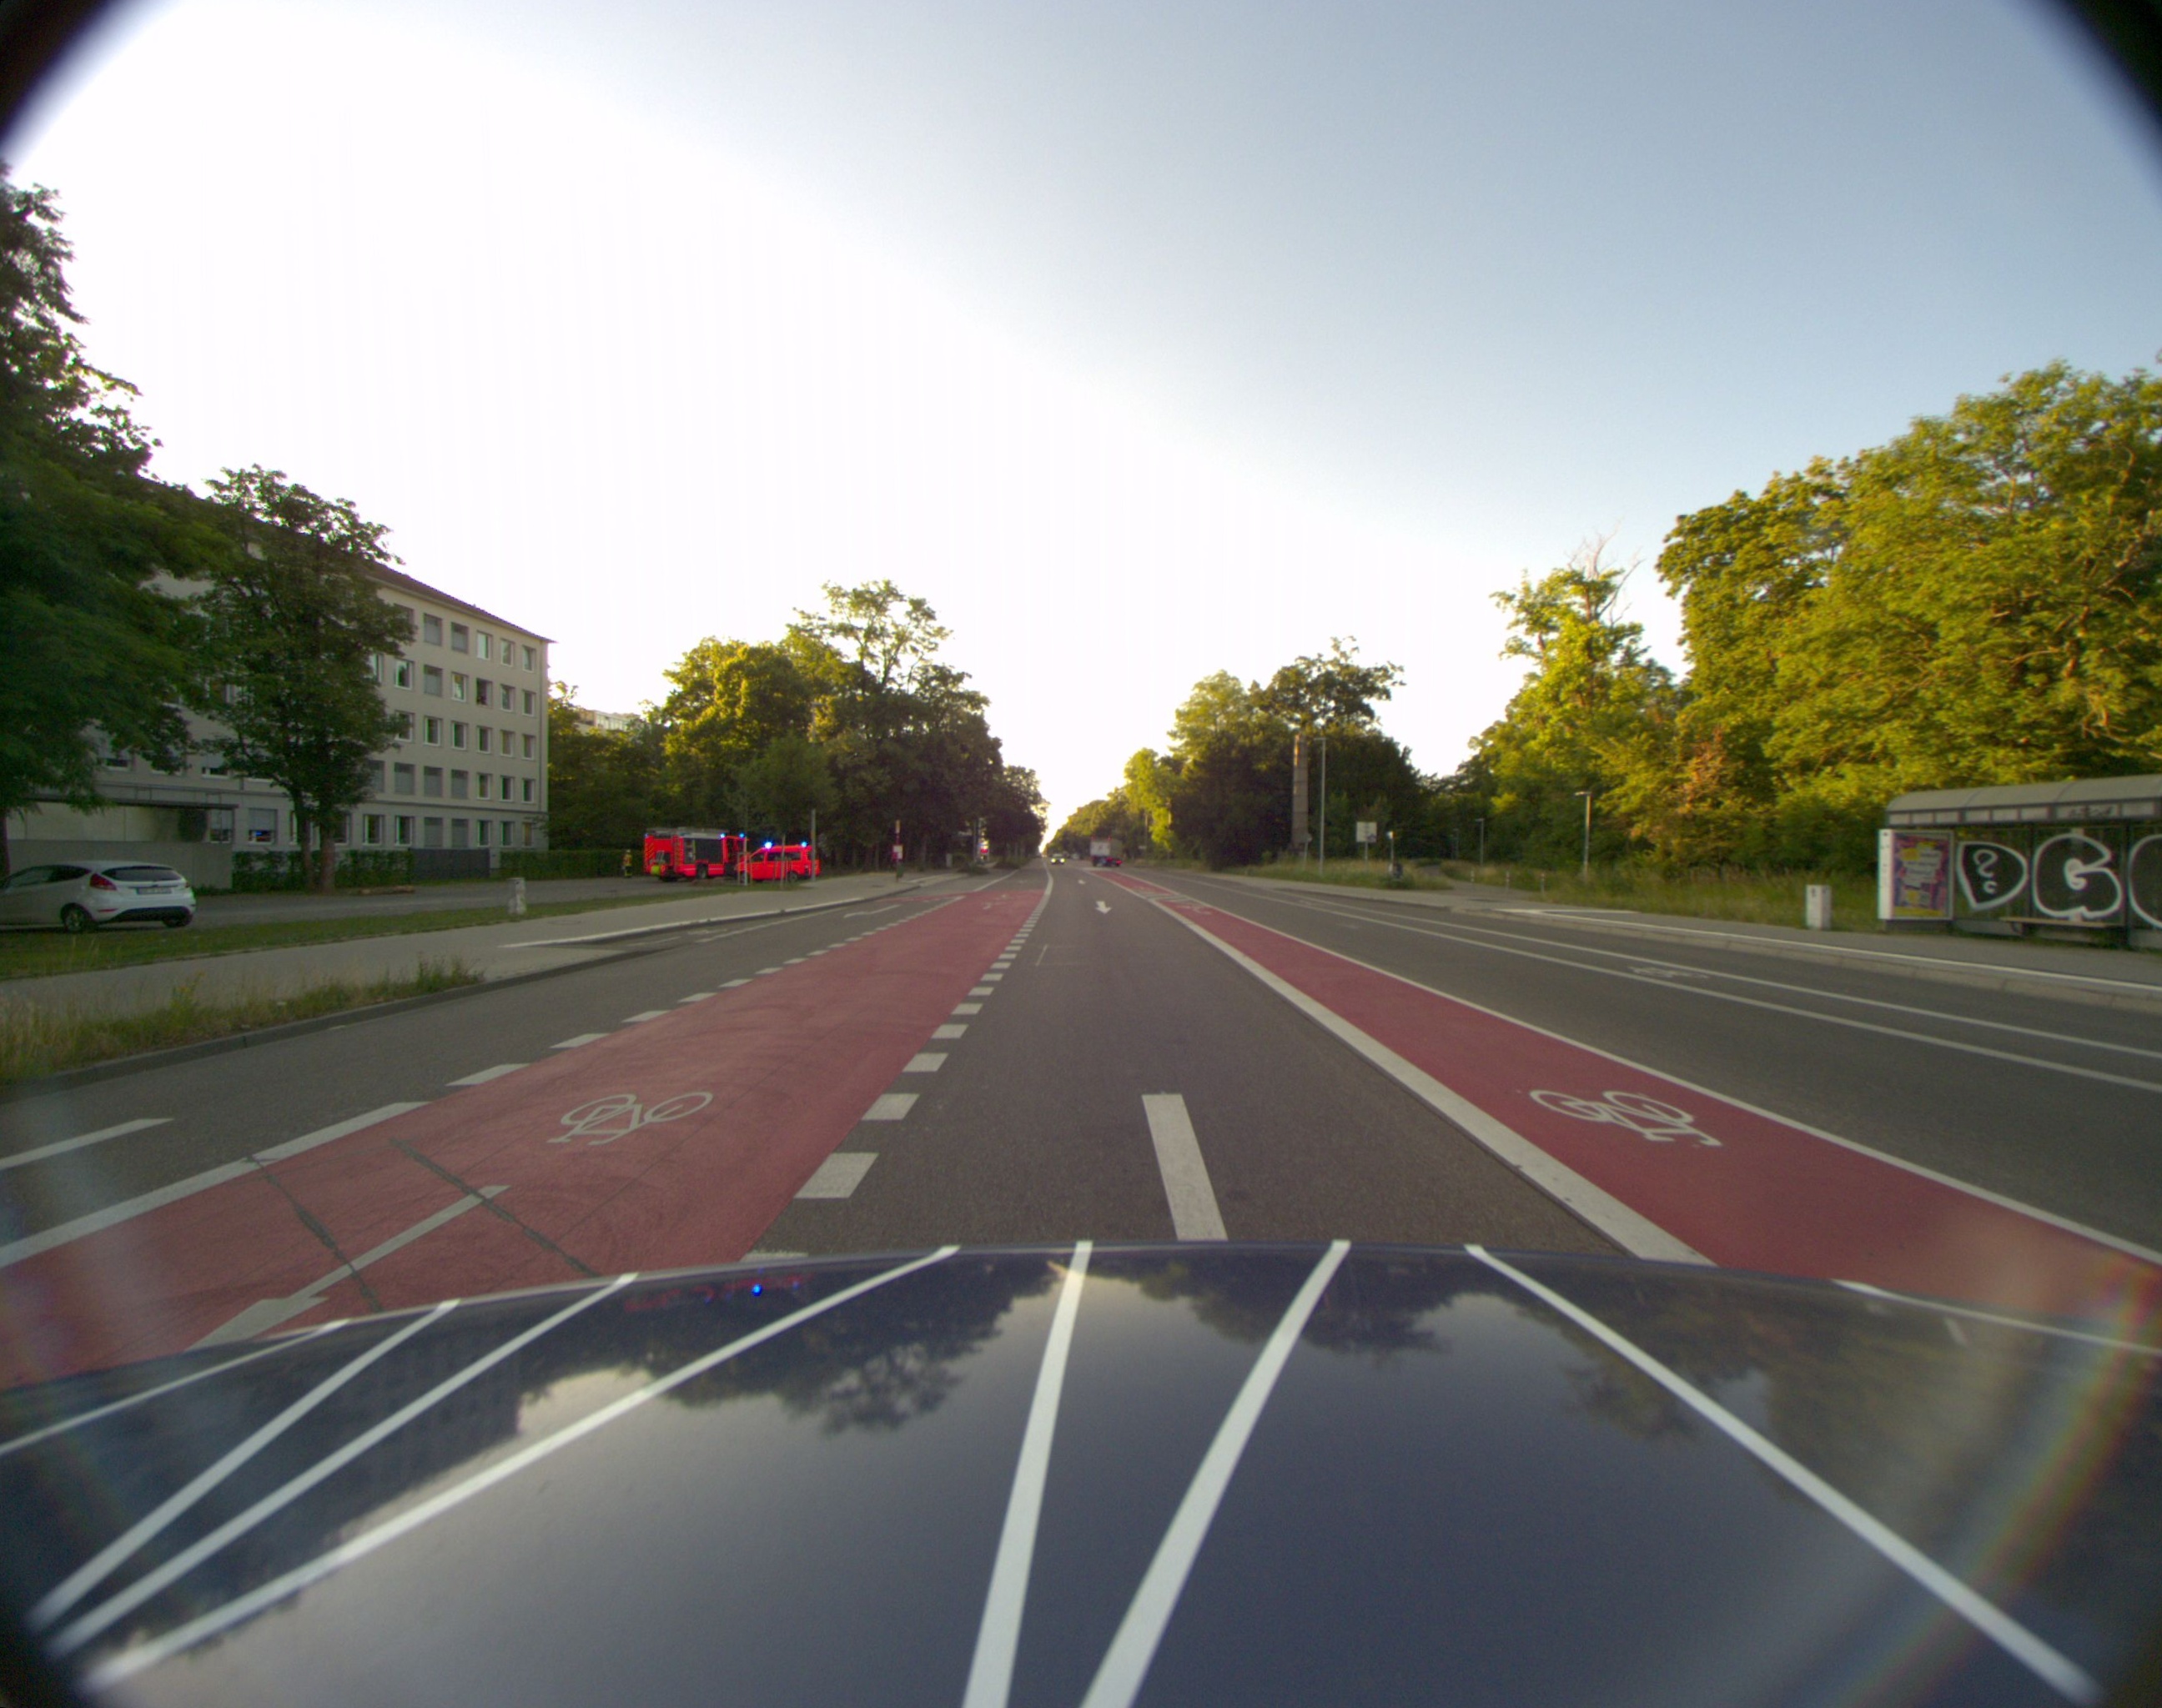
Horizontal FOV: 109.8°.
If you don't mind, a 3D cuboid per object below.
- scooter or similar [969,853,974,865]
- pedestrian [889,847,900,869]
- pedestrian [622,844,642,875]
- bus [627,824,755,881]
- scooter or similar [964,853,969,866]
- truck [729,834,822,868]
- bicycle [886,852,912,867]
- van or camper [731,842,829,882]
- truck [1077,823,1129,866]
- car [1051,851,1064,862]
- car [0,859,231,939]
[{"bbox_3d":[-11.962,0.576,83.155,0.483,1.274,1.139,2,0,-8],"label":"scooter or similar"},{"bbox_3d":[-17.041,0.385,69.487,0.694,2.002,0.726,0,1,17],"label":"pedestrian"},{"bbox_3d":[-29.335,0.362,49.676,0.772,2.002,0.826,0,1,9],"label":"pedestrian"},{"bbox_3d":[-23.811,-0.097,47.013,2.993,3.177,7.968,-1,1,8],"label":"bus"},{"bbox_3d":[-12.200,0.576,81.128,0.483,1.274,1.230,2,0,-8],"label":"scooter or similar"},{"bbox_3d":[-29.829,-0.271,74.153,8.645,3.192,2.765,0,0,17],"label":"truck"},{"bbox_3d":[-16.788,0.493,70.062,1.965,1.091,0.834,7,-1,12],"label":"bicycle"},{"bbox_3d":[-17.702,0.463,44.846,4.823,2.231,2.296,-1,0,7],"label":"van or camper"},{"bbox_3d":[3.265,-1.326,106.500,5.151,5.542,15.095,0,0,10],"label":"truck"},{"bbox_3d":[-3.658,0.351,117.302,1.999,1.608,3.998,0,0,-3],"label":"car"},{"bbox_3d":[-20.917,0.916,16.025,3.996,1.528,1.912,-1,1,4],"label":"car"}]
